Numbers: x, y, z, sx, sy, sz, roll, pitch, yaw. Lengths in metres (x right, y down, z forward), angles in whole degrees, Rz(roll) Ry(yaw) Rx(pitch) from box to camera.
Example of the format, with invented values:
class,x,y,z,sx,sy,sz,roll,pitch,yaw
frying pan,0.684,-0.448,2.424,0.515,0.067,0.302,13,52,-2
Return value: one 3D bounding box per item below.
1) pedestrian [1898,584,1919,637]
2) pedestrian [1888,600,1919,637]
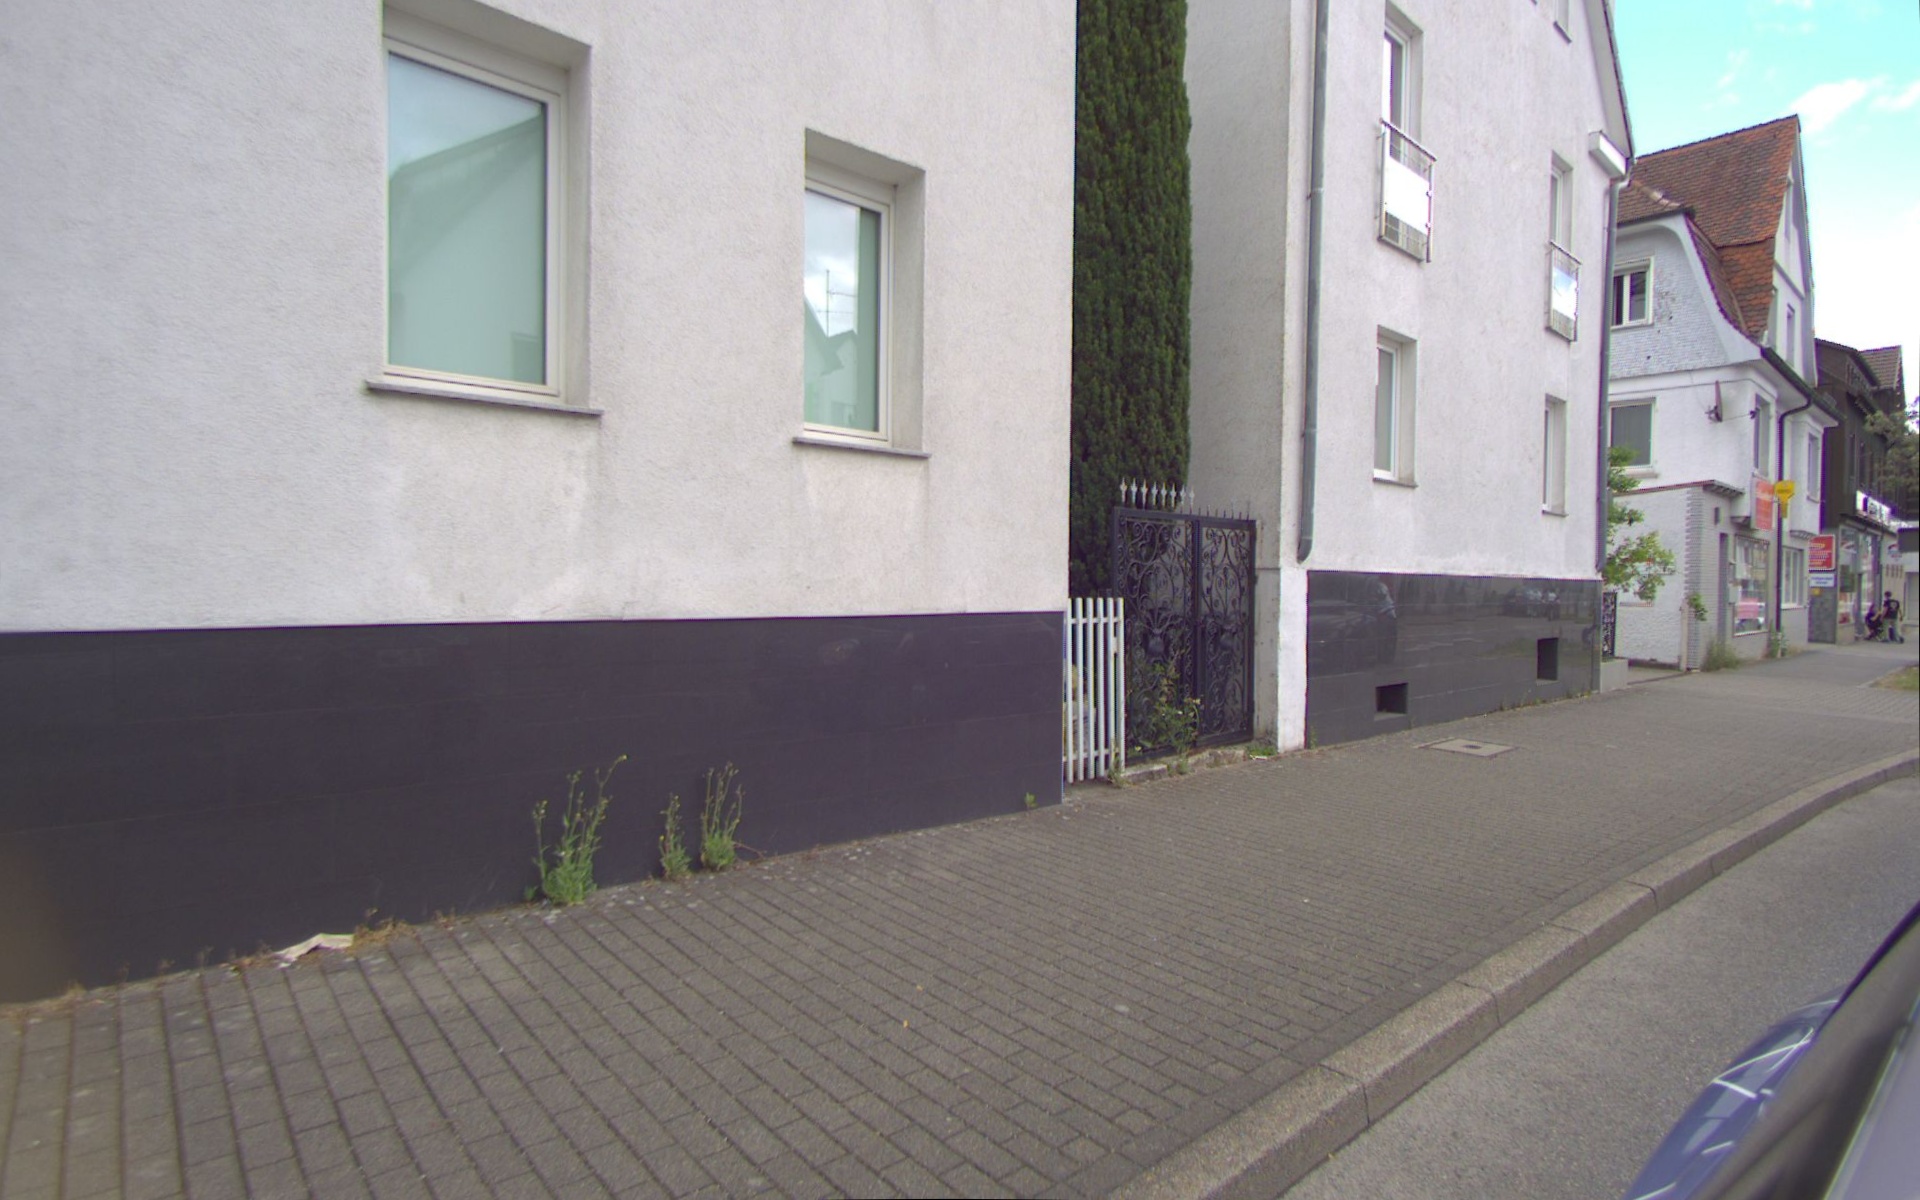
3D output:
class,x,y,z,sx,sy,sz,roll,pitch,yaw
pedestrian,32.165,0.337,34.194,0.642,1.762,0.731,3,2,43
pedestrian,32.686,0.627,35.026,0.633,1.226,0.741,0,2,-42
